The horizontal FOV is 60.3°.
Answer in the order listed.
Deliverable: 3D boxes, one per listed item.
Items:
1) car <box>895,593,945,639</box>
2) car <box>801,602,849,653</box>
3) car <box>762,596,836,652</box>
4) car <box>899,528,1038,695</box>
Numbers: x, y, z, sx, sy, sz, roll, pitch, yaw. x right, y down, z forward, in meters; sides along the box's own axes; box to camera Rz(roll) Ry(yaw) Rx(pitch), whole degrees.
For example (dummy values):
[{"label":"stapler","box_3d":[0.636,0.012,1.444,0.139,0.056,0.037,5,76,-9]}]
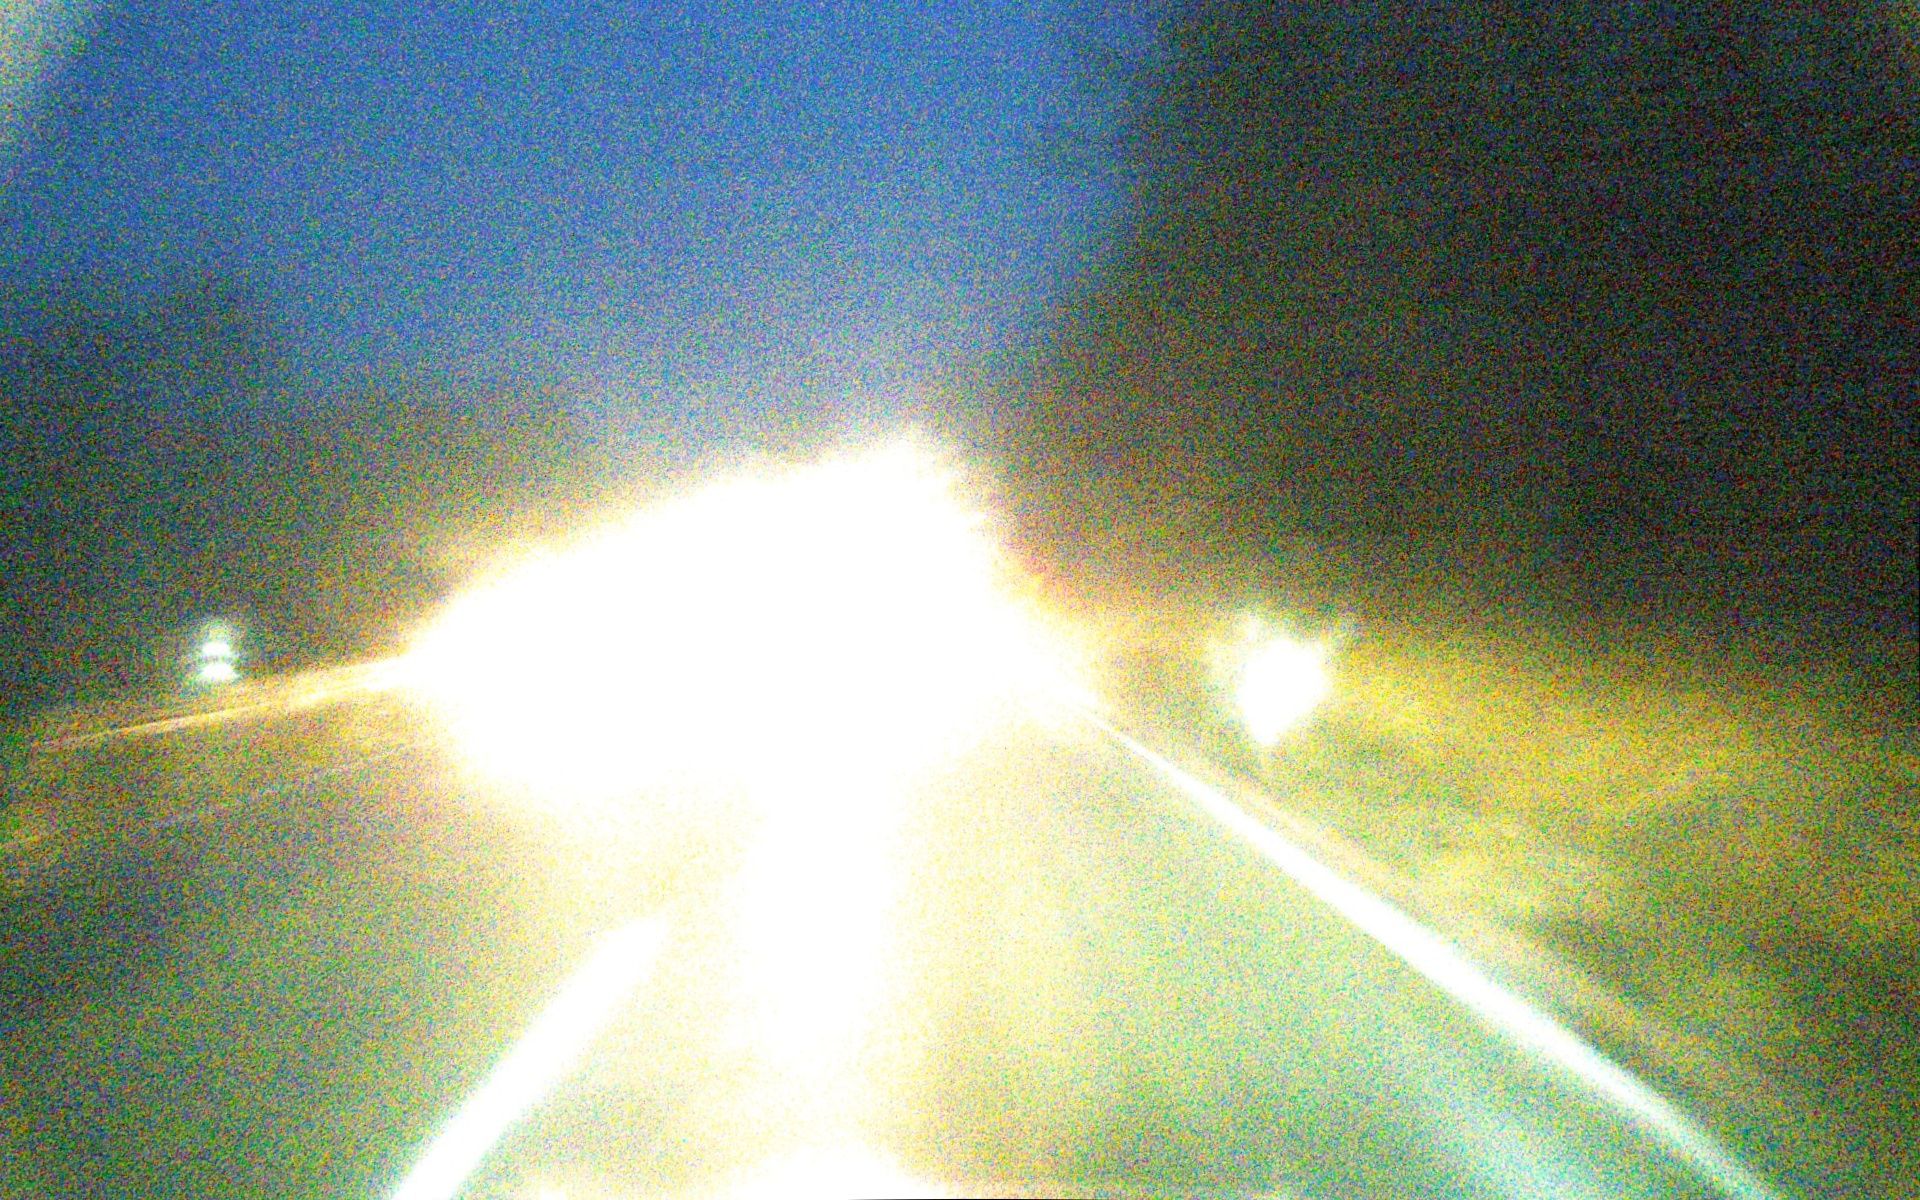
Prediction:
[{"label":"car","box_3d":[-1.393,0.568,58.223,1.672,1.531,3.605,0,-1,-1]},{"label":"car","box_3d":[-5.527,1.119,68.007,1.799,1.876,3.999,-1,2,-3]},{"label":"car","box_3d":[-4.532,0.670,47.084,1.806,1.531,3.708,0,-1,-1]},{"label":"car","box_3d":[0.107,0.118,29.142,2.137,2.601,4.508,3,2,-1]}]
